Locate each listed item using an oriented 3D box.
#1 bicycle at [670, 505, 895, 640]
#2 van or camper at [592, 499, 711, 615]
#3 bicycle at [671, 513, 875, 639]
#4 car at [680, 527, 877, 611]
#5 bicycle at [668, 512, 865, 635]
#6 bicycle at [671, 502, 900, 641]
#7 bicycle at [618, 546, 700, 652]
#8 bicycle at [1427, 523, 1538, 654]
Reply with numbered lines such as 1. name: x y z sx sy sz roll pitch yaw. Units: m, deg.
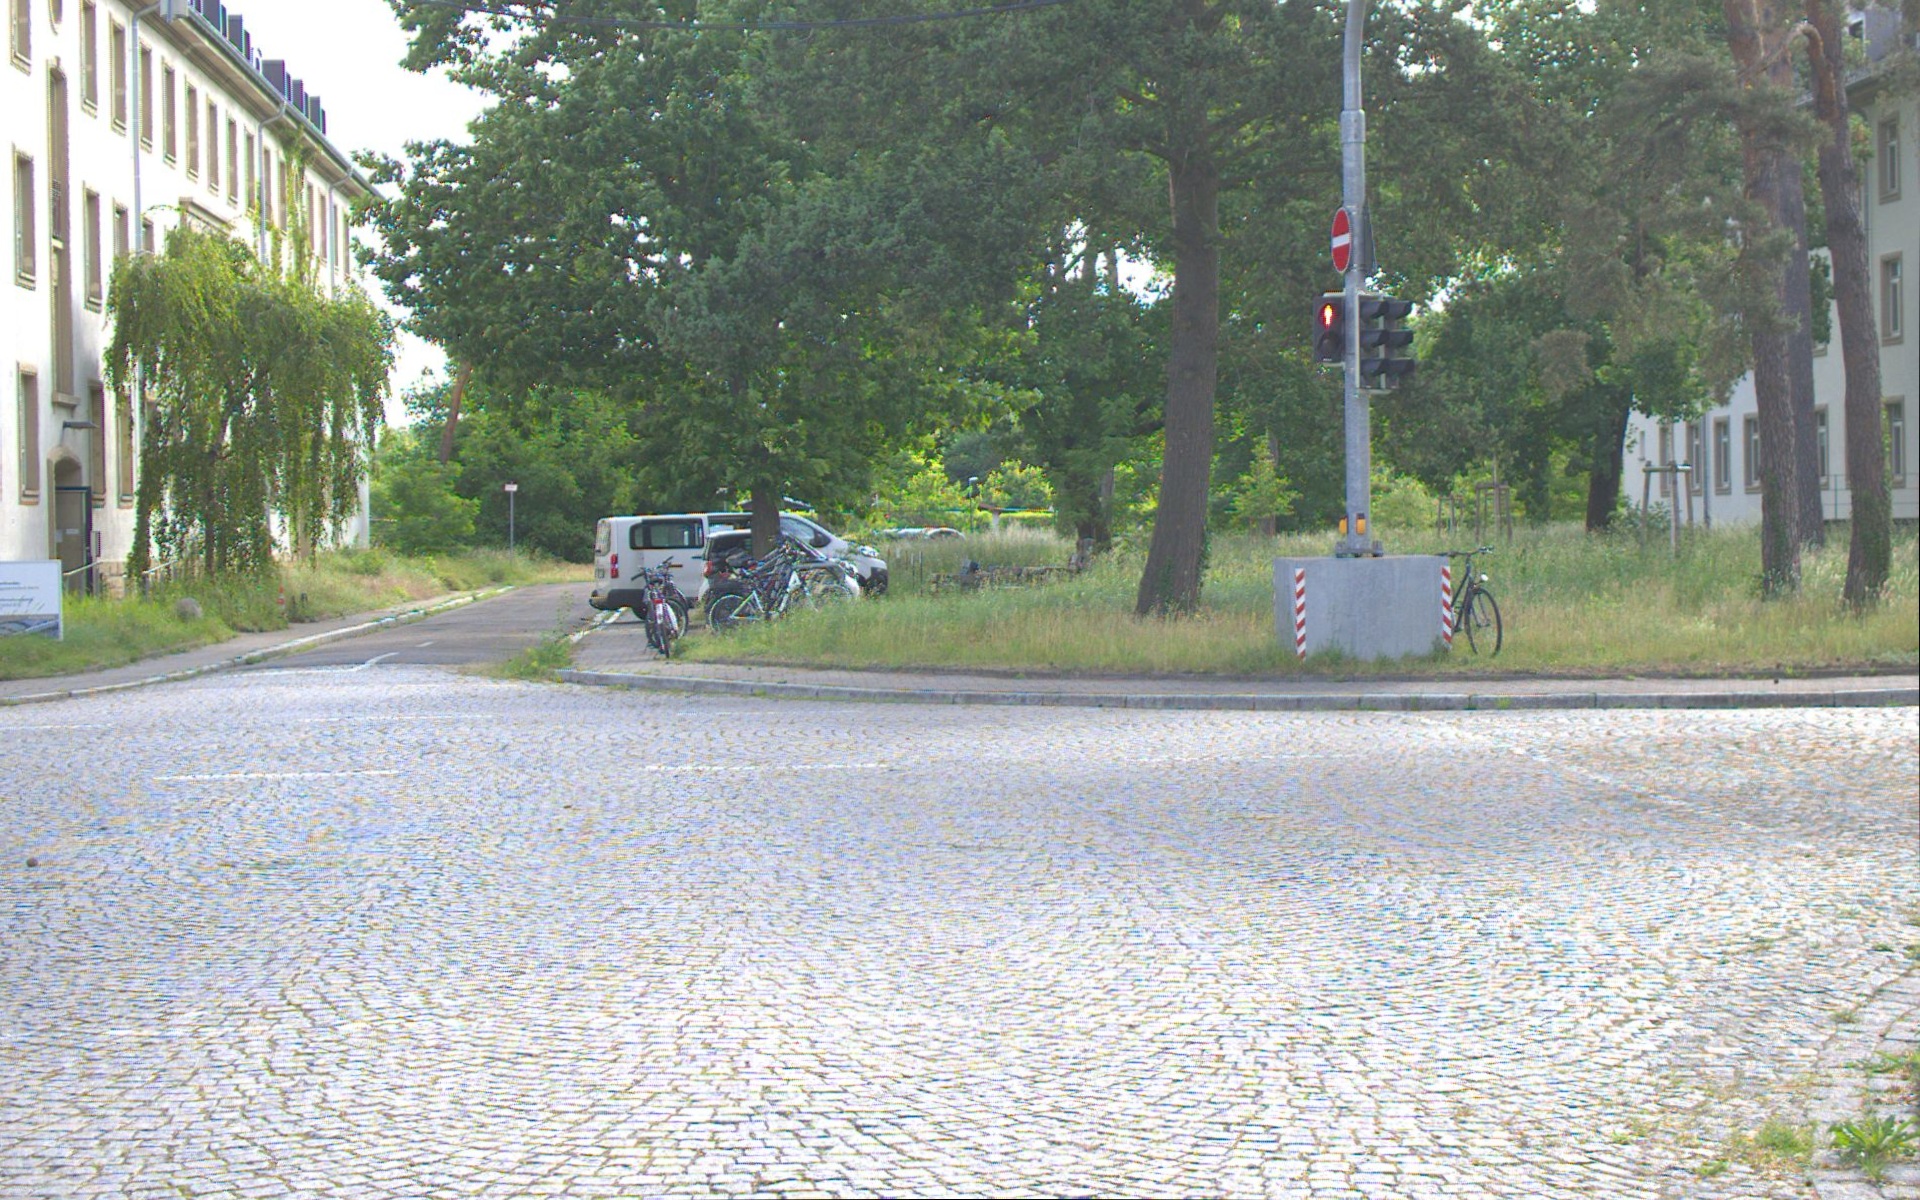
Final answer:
1. bicycle: -2.331 -0.371 44.925 2.775 1.688 1.120 -1 1 -11
2. van or camper: -5.555 -0.809 62.026 1.993 1.942 6.053 -1 1 -5
3. bicycle: -2.620 -0.347 48.481 2.775 1.688 1.120 1 1 0
4. car: -3.085 -0.537 58.104 3.137 1.349 1.620 -1 1 -9
5. bicycle: -2.793 -0.388 49.811 2.775 1.688 1.120 1 1 -2
6. bicycle: -2.227 -0.373 43.734 2.775 1.688 1.120 -1 1 -9
7. bicycle: -3.439 -0.027 39.382 0.725 1.104 2.462 -5 1 -2
8. bicycle: 4.892 -0.124 32.327 0.724 1.165 2.737 1 1 3
